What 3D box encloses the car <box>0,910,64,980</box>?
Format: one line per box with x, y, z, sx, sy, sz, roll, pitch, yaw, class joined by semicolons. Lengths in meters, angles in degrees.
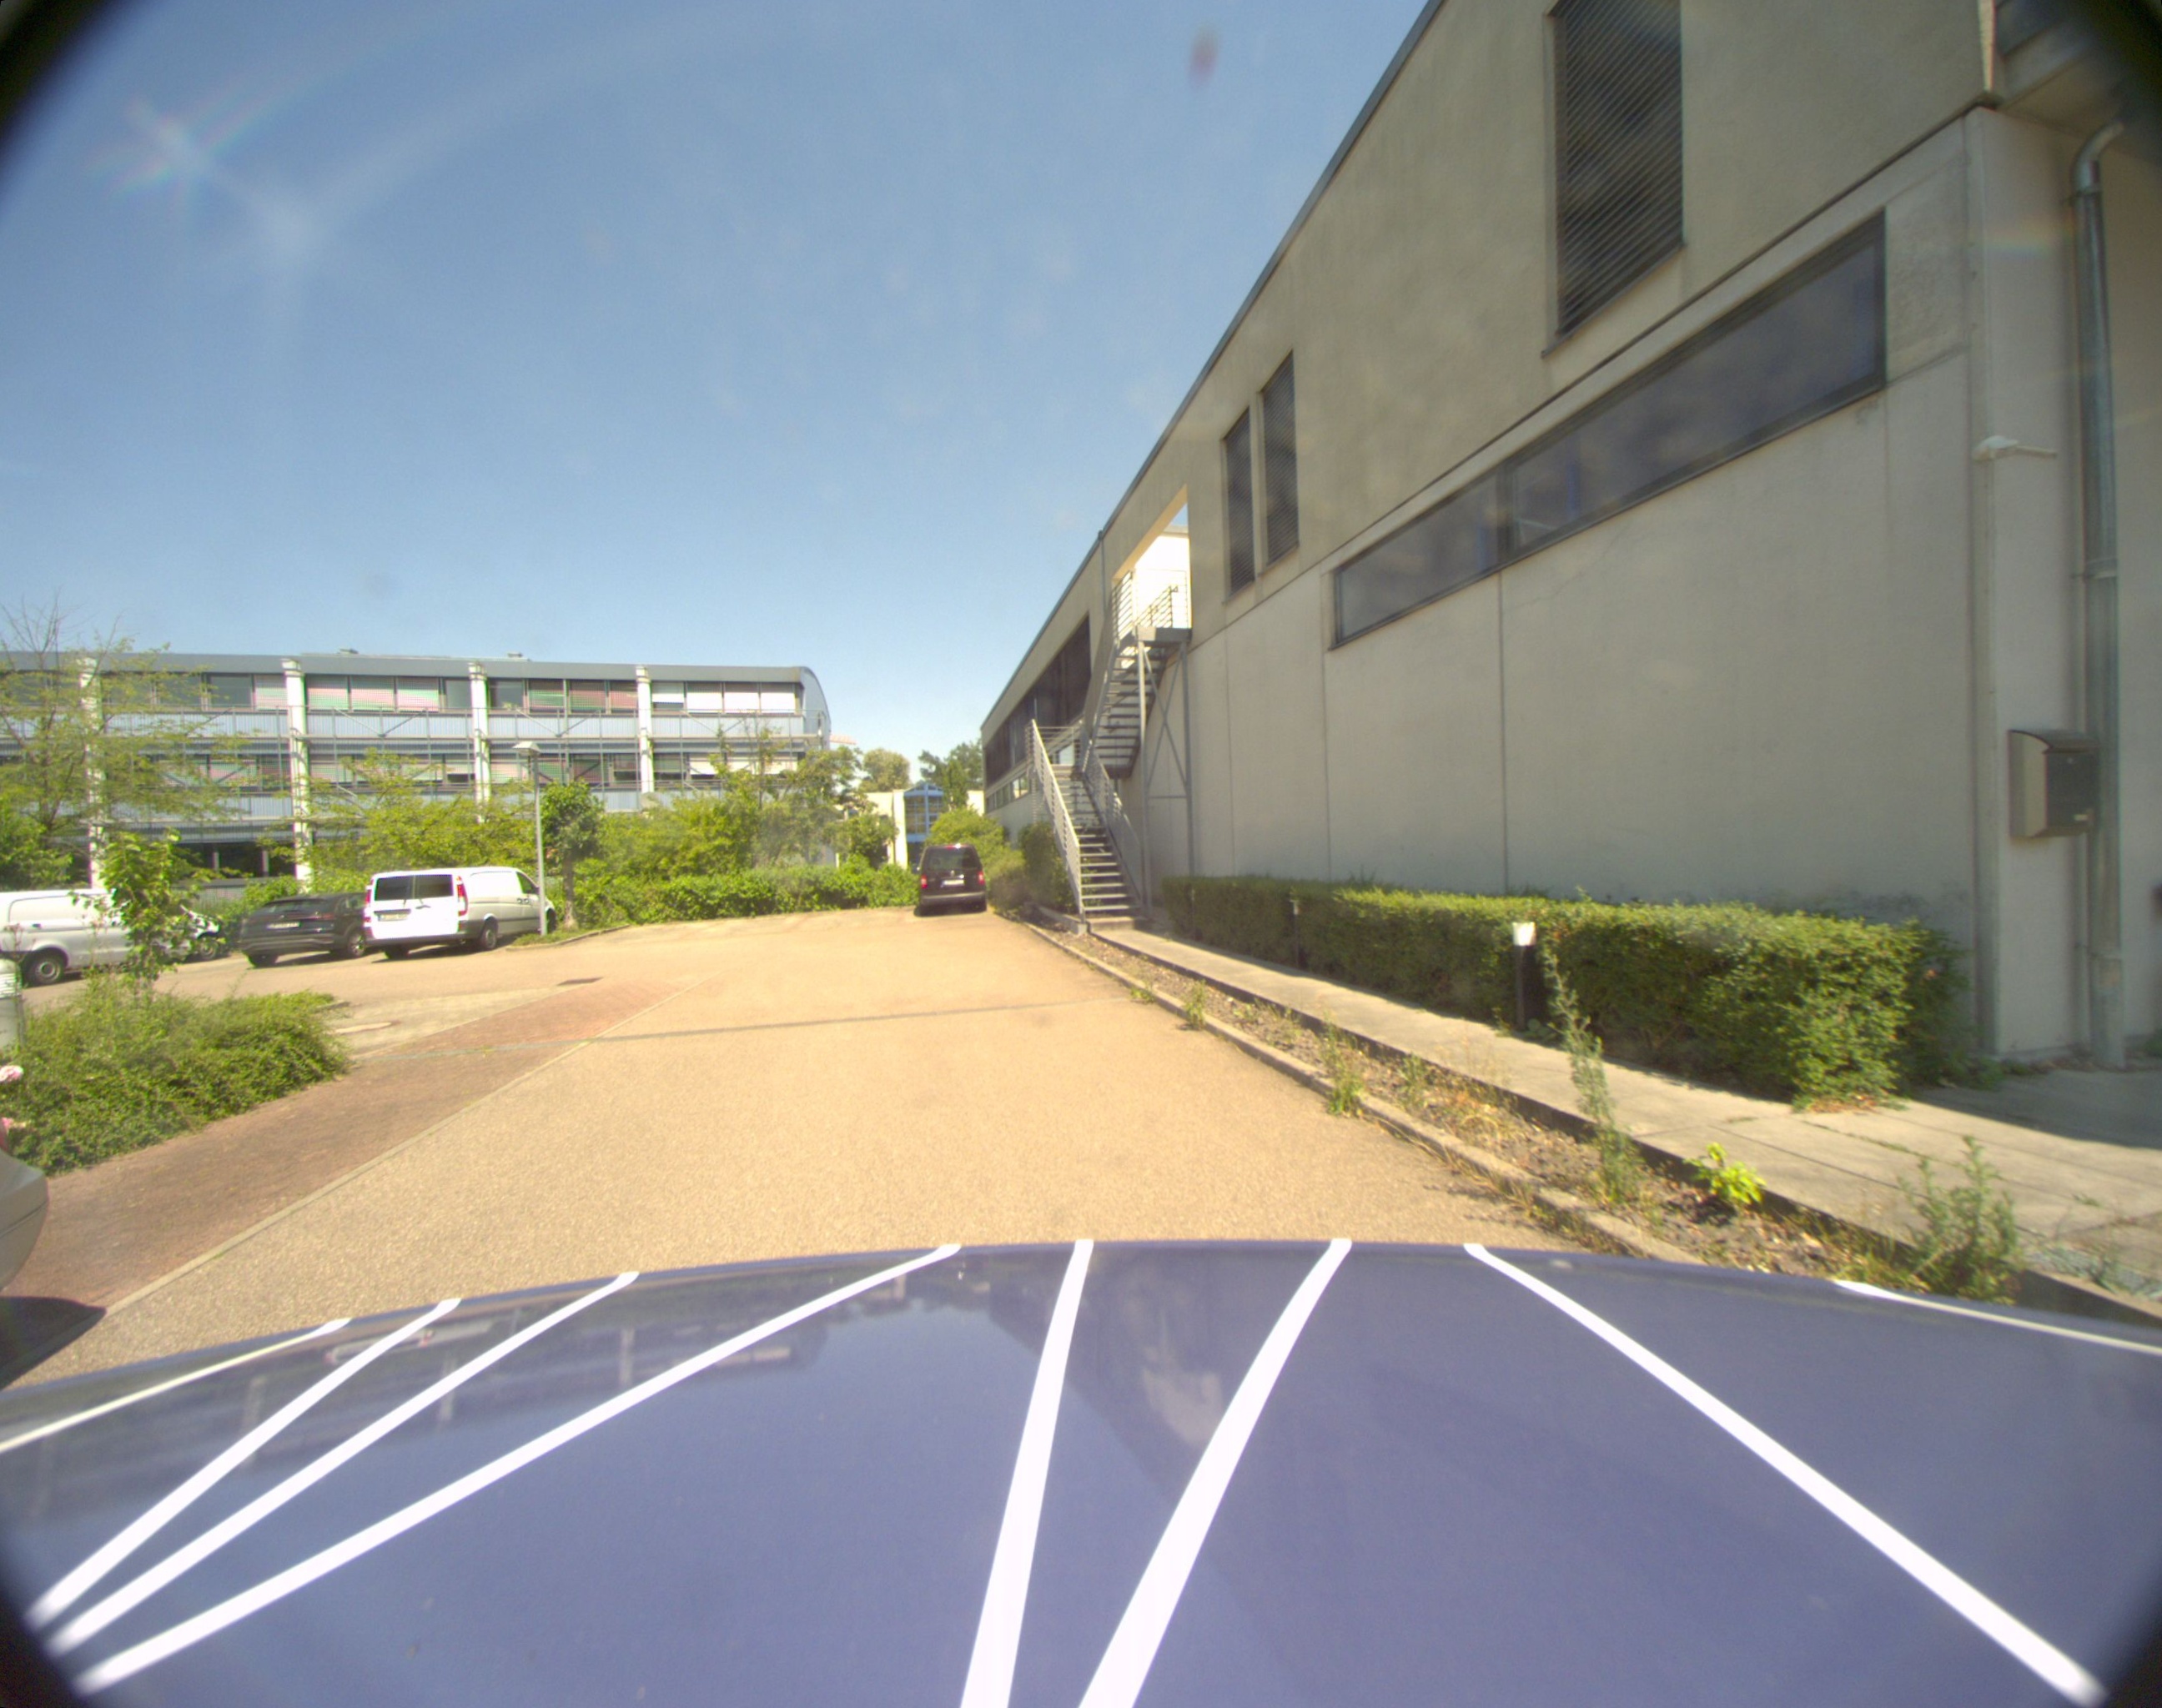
-24.823;2.134;16.097;1.625;1.479;3.916;-4;1;-12;car

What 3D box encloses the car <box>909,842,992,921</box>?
-3.734;0.682;21.187;1.869;1.849;4.223;-4;1;-14;car

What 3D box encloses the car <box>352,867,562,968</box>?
-14.345;1.333;17.896;1.869;1.849;4.671;-4;1;-14;car

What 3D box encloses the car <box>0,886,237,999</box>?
-21.385;1.788;16.199;1.857;1.845;4.929;-4;1;-11;car

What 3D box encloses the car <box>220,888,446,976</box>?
-17.076;1.683;17.687;1.740;1.475;4.192;-4;1;-14;car
